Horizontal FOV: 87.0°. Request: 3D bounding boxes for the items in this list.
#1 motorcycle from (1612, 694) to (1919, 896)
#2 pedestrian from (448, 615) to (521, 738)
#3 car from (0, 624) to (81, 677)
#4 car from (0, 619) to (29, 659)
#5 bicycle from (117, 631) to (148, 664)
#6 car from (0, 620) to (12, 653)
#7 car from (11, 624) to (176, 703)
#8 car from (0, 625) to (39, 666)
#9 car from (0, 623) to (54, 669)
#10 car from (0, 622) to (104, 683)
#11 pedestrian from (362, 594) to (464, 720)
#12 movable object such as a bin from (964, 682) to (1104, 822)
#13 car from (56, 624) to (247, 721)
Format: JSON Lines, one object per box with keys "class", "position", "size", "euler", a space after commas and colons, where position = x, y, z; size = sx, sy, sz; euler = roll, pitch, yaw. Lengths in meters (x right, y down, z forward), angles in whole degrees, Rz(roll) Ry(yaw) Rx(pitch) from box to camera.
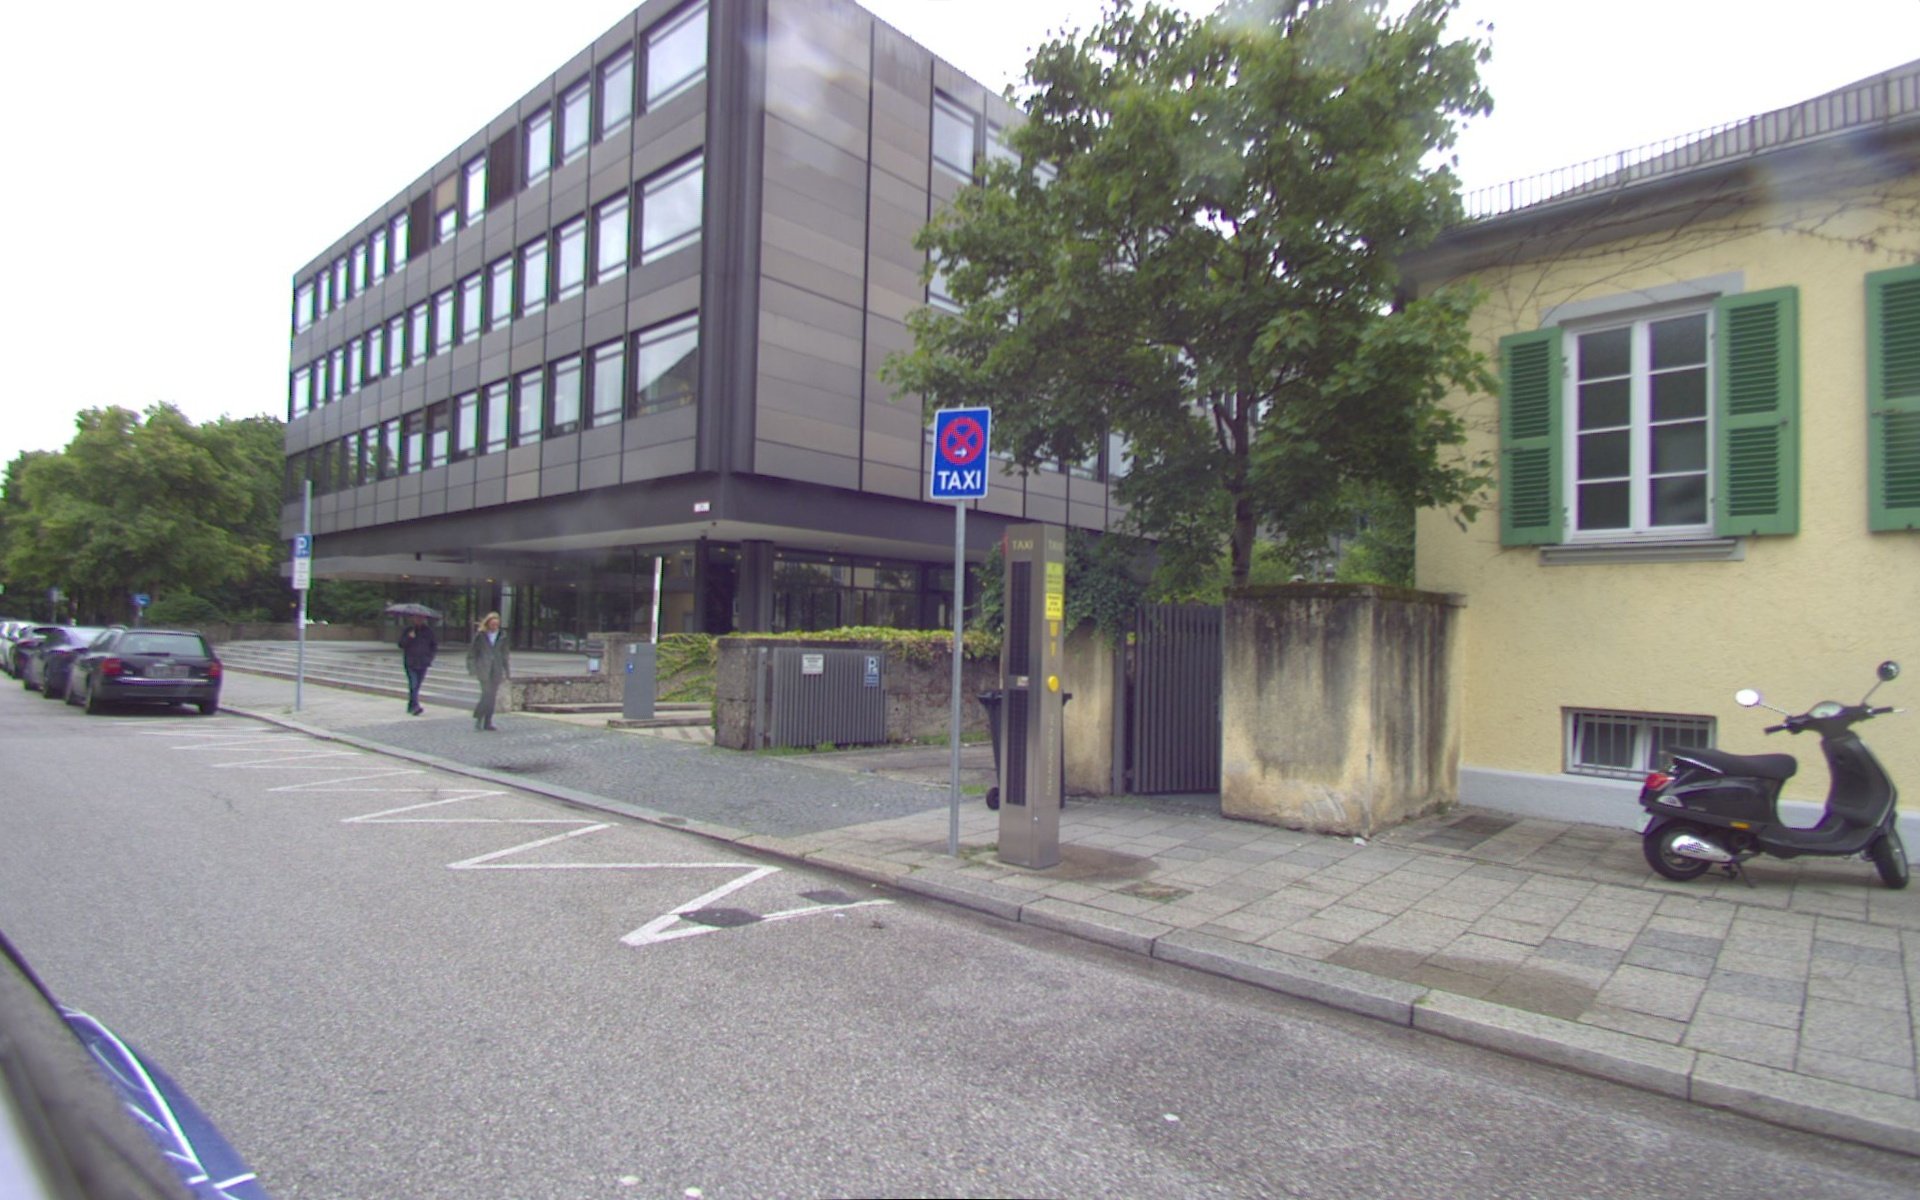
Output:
{"class": "motorcycle", "position": [5.115, 1.162, 6.193], "size": [1.816, 1.109, 0.558], "euler": [0, -1, 6]}
{"class": "pedestrian", "position": [-7.112, 1.108, 15.126], "size": [0.743, 1.762, 0.954], "euler": [0, -1, -41]}
{"class": "car", "position": [-28.255, 1.511, 30.864], "size": [4.279, 1.451, 1.663], "euler": [-1, -6, 43]}
{"class": "car", "position": [-40.265, 1.603, 41.966], "size": [4.521, 1.595, 1.972], "euler": [-1, -4, 42]}
{"class": "bicycle", "position": [-30.859, 1.765, 37.739], "size": [1.526, 1.173, 0.636], "euler": [-1, -1, 41]}
{"class": "car", "position": [-45.056, 1.657, 46.433], "size": [4.647, 1.472, 1.971], "euler": [-1, -4, 44]}
{"class": "car", "position": [-18.609, 1.308, 21.654], "size": [4.915, 1.450, 1.903], "euler": [0, -4, 41]}
{"class": "car", "position": [-36.101, 1.673, 38.085], "size": [4.218, 1.411, 1.738], "euler": [-1, -6, 44]}
{"class": "car", "position": [-32.342, 1.562, 34.647], "size": [3.552, 1.482, 1.527], "euler": [-1, -5, 42]}
{"class": "car", "position": [-24.623, 1.399, 27.374], "size": [4.238, 1.472, 1.720], "euler": [-1, -5, 44]}
{"class": "pedestrian", "position": [-9.454, 0.969, 17.498], "size": [1.221, 2.070, 1.123], "euler": [-1, -4, 42]}
{"class": "movable object such as a bin", "position": [0.650, 1.280, 8.815], "size": [0.840, 1.072, 0.925], "euler": [-2, -3, 40]}
{"class": "car", "position": [-14.636, 1.233, 18.204], "size": [4.884, 1.502, 1.971], "euler": [-1, -4, 44]}
